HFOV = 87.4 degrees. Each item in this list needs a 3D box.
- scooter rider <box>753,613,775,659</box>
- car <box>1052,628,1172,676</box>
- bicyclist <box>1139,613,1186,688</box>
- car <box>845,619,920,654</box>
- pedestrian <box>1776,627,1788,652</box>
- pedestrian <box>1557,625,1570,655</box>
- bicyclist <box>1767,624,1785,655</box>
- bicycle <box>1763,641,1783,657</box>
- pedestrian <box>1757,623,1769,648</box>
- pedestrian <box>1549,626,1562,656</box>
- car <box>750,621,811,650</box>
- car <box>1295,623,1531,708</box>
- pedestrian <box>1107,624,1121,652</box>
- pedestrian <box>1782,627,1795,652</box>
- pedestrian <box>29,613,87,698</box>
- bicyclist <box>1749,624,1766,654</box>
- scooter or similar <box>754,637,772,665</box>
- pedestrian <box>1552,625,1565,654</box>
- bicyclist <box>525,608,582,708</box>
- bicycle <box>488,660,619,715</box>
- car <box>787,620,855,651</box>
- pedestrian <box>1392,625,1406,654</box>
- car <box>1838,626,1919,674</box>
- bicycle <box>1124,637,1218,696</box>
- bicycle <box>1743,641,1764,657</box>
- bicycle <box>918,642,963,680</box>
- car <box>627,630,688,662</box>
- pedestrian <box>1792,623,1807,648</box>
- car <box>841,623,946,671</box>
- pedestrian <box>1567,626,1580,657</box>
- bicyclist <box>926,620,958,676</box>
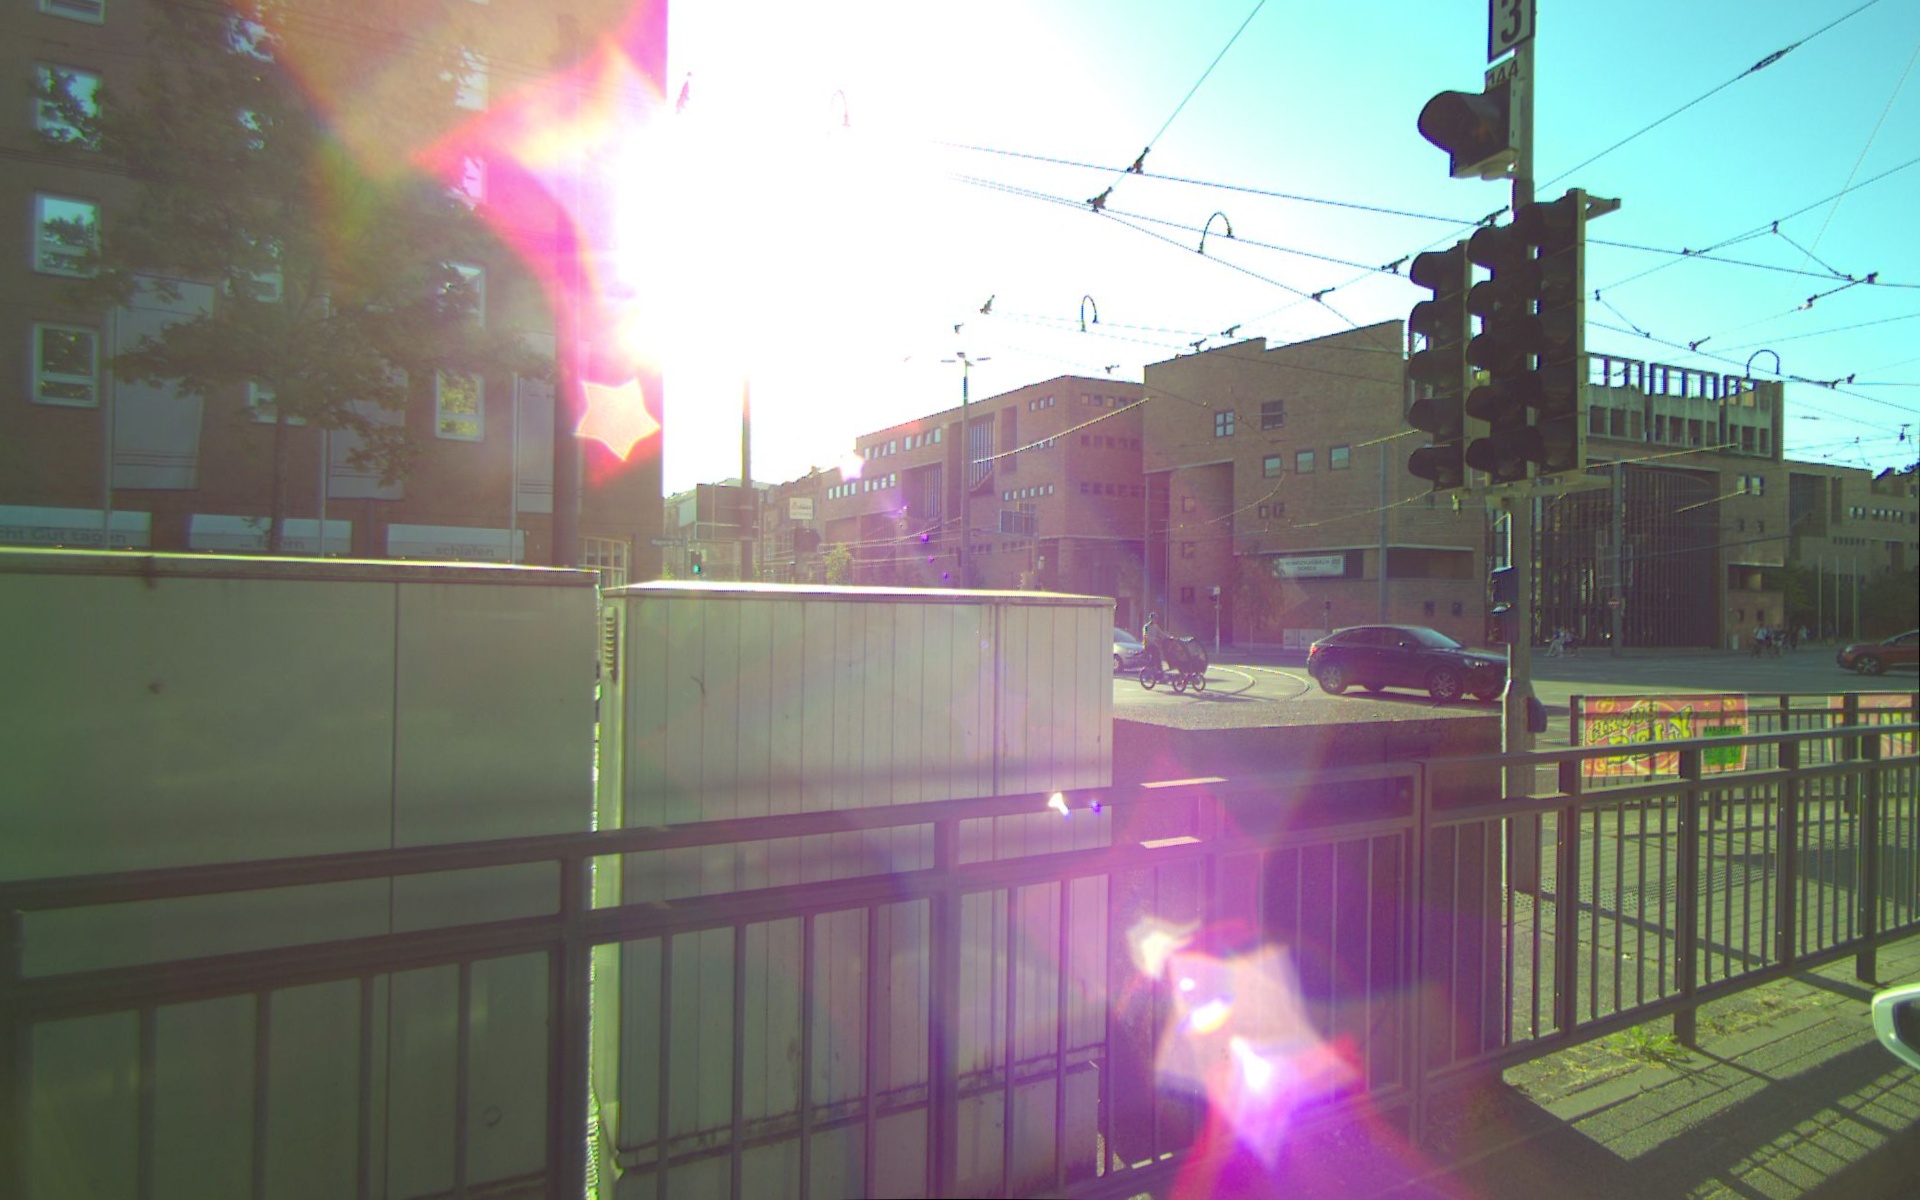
[{"bbox_3d":[-8.141,1.489,41.701,0.727,1.921,0.661,1,-2,-27],"label":"scooter rider"},{"bbox_3d":[5.010,1.675,33.479,1.807,1.453,3.884,1,-1,-34],"label":"car"},{"bbox_3d":[4.733,1.170,23.534,0.682,1.703,0.901,1,-1,-26],"label":"bicyclist"},{"bbox_3d":[-4.081,1.883,52.373,1.981,1.719,4.315,1,-2,-36],"label":"car"},{"bbox_3d":[60.804,2.893,74.262,0.538,1.834,0.489,1,-1,-23],"label":"pedestrian"},{"bbox_3d":[34.749,2.296,57.790,0.530,1.672,0.622,-1,-2,41],"label":"pedestrian"},{"bbox_3d":[45.589,2.209,56.139,0.782,1.697,0.589,1,-1,-36],"label":"bicyclist"},{"bbox_3d":[45.485,2.728,56.193,1.823,0.893,0.509,1,-2,-38],"label":"bicycle"},{"bbox_3d":[59.314,2.600,74.155,0.538,1.834,0.489,1,-1,-23],"label":"pedestrian"},{"bbox_3d":[33.494,2.325,56.471,0.530,1.672,0.622,0,-1,41],"label":"pedestrian"},{"bbox_3d":[-11.144,2.154,62.152,1.981,1.719,4.315,1,-2,-36],"label":"car"},{"bbox_3d":[9.719,1.333,21.889,1.805,1.604,4.457,1,-1,-32],"label":"car"},{"bbox_3d":[9.117,2.249,59.339,0.608,1.635,0.539,-1,2,-35],"label":"pedestrian"},{"bbox_3d":[59.902,2.886,72.659,0.538,1.803,0.521,1,-1,-23],"label":"pedestrian"},{"bbox_3d":[-17.555,1.067,19.571,0.717,1.606,0.586,1,1,-31],"label":"pedestrian"},{"bbox_3d":[45.005,2.192,56.675,0.782,1.697,0.589,1,-1,-36],"label":"bicyclist"},{"bbox_3d":[-8.182,2.114,41.710,0.397,1.119,1.202,1,-1,-26],"label":"scooter or similar"},{"bbox_3d":[34.094,2.248,57.221,0.530,1.672,0.622,0,-1,41],"label":"pedestrian"},{"bbox_3d":[-7.501,1.054,18.571,0.837,1.808,0.751,0,-1,-12],"label":"bicyclist"},{"bbox_3d":[-7.482,1.604,18.569,2.146,0.946,0.666,1,-1,-12],"label":"bicycle"},{"bbox_3d":[-7.904,1.991,56.913,1.981,1.719,4.315,1,-2,-36],"label":"car"},{"bbox_3d":[24.866,2.226,56.953,0.560,1.635,0.545,0,-1,1],"label":"pedestrian"},{"bbox_3d":[32.746,1.692,34.093,1.781,1.623,4.206,1,-2,-40],"label":"car"},{"bbox_3d":[4.885,1.505,23.392,1.058,1.243,2.150,0,0,-26],"label":"bicycle"},{"bbox_3d":[44.832,2.757,56.750,1.823,0.893,0.509,1,-2,-38],"label":"bicycle"},{"bbox_3d":[-0.614,1.868,31.085,0.621,1.078,1.916,1,-1,-27],"label":"bicycle"},{"bbox_3d":[-14.268,2.126,47.286,1.625,1.416,3.269,1,-2,-39],"label":"car"},{"bbox_3d":[61.274,2.581,73.309,0.538,1.834,0.640,1,-1,-23],"label":"pedestrian"},{"bbox_3d":[-2.688,1.800,39.560,1.980,1.750,4.803,1,-1,-34],"label":"car"},{"bbox_3d":[34.447,2.326,56.411,0.530,1.672,0.622,-1,-2,41],"label":"pedestrian"},{"bbox_3d":[-0.561,1.457,30.995,0.631,1.686,0.901,1,-1,-27],"label":"bicyclist"}]
